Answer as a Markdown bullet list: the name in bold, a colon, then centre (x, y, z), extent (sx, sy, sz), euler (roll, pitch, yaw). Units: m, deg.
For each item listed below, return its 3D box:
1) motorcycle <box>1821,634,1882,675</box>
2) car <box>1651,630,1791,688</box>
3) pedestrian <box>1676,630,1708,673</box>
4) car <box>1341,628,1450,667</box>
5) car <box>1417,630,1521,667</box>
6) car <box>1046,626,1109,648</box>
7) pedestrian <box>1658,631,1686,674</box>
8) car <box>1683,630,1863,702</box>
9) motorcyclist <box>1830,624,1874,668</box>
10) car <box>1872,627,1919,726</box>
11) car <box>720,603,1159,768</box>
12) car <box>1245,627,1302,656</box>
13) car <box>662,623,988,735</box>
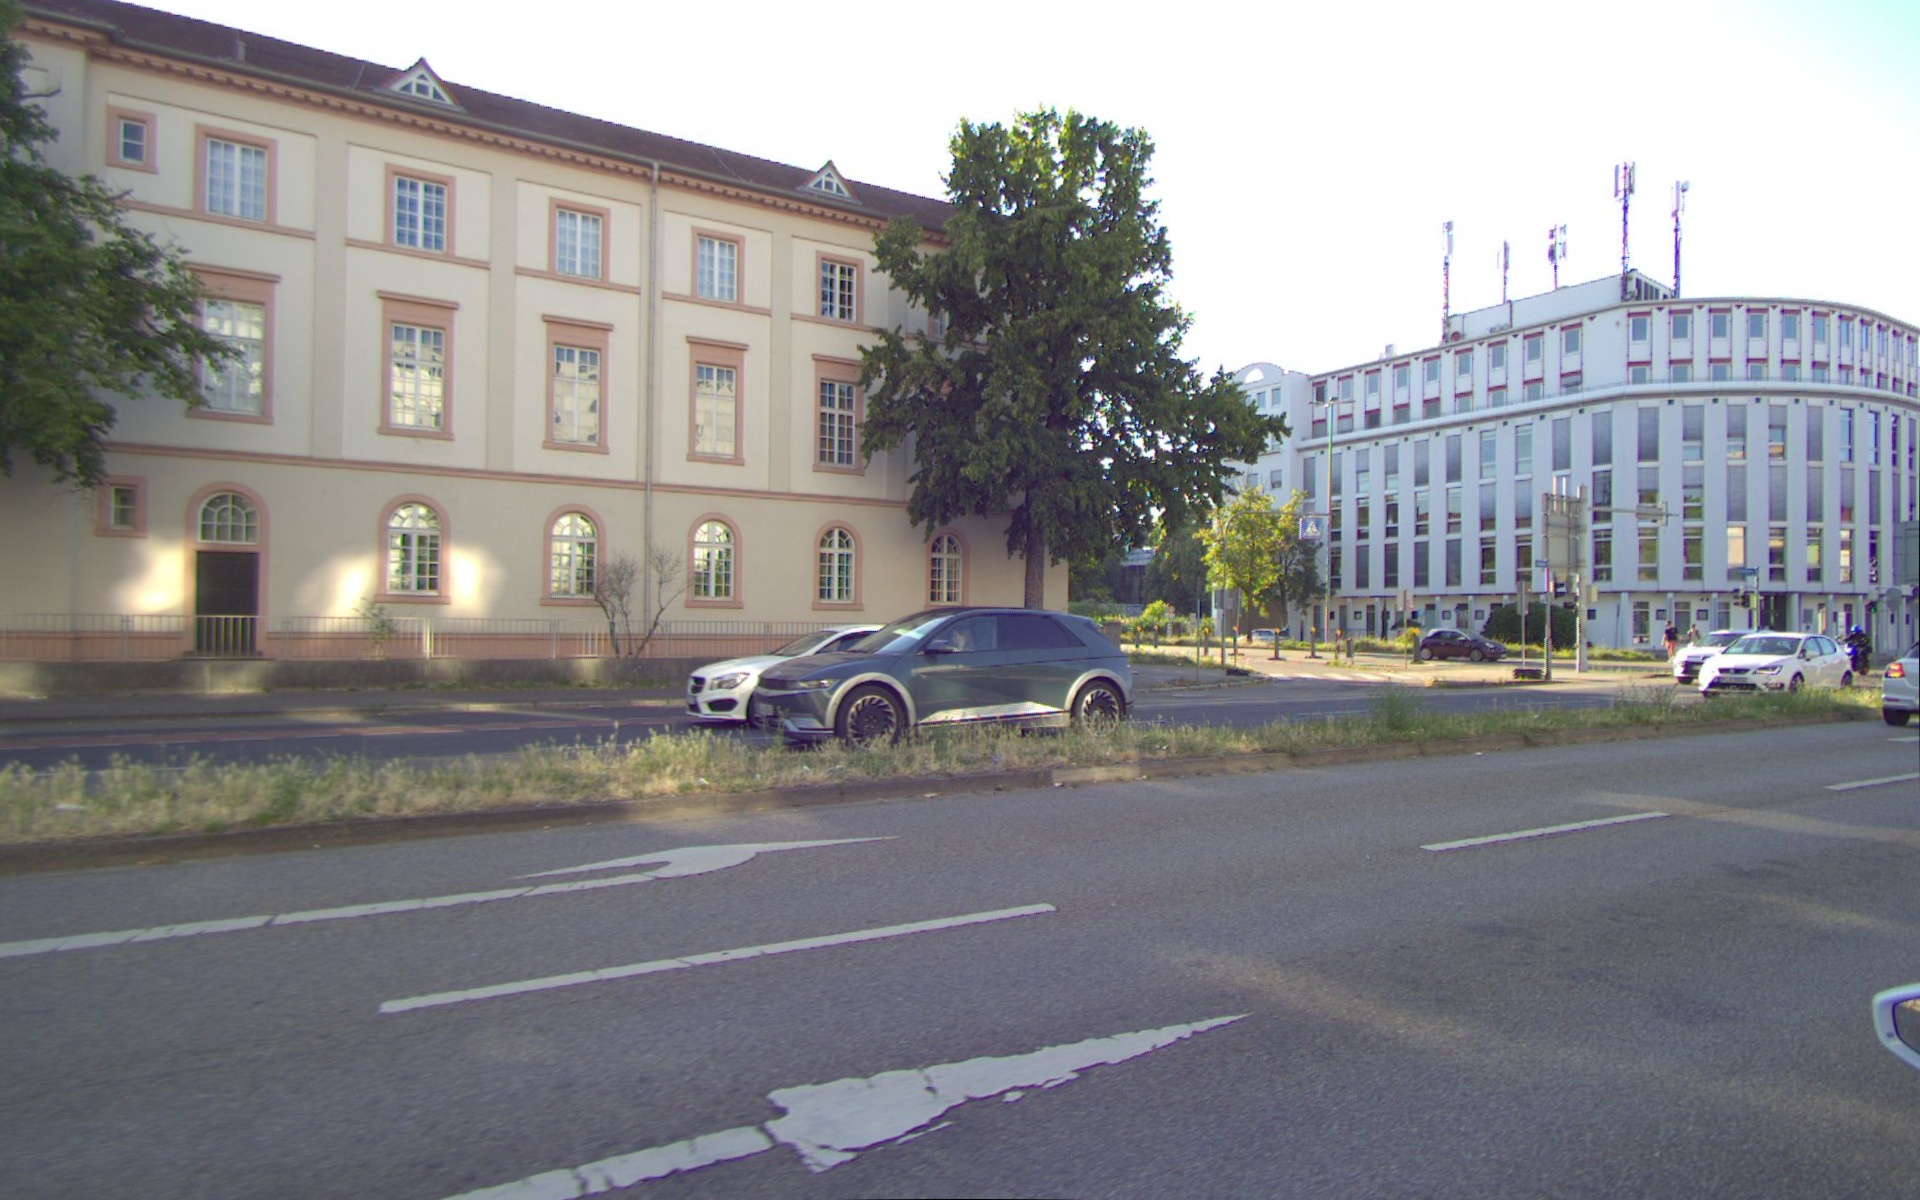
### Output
- **motorcycle**: centre (29.554, 1.787, 33.287), extent (2.811, 1.301, 0.766), euler (2, -2, -32)
- **car**: centre (21.734, 1.631, 28.645), extent (4.463, 1.518, 1.676), euler (1, -2, -32)
- **pedestrian**: centre (31.867, 2.234, 43.736), extent (0.802, 1.866, 0.761), euler (1, -1, -4)
- **car**: centre (19.554, 2.086, 45.271), extent (1.973, 1.650, 4.333), euler (1, -2, -25)
- **car**: centre (22.852, 2.186, 45.195), extent (1.843, 1.549, 3.788), euler (4, -4, -32)
- **car**: centre (7.593, 2.384, 65.084), extent (1.812, 1.372, 3.955), euler (2, -2, -39)
- **pedestrian**: centre (31.571, 2.319, 44.552), extent (0.764, 1.883, 0.661), euler (1, -1, -7)
- **car**: centre (17.545, 1.372, 21.641), extent (4.132, 1.411, 1.677), euler (1, -2, -30)
- **motorcyclist**: centre (29.539, 1.508, 33.274), extent (1.224, 1.438, 0.766), euler (1, -2, -32)
- **car**: centre (16.318, 1.186, 15.868), extent (3.951, 1.476, 1.678), euler (1, -1, -29)
- **car**: centre (-0.155, 0.900, 11.827), extent (4.842, 1.599, 1.984), euler (1, -2, -31)
- **car**: centre (22.381, 2.950, 71.638), extent (3.796, 1.756, 1.776), euler (0, -9, 19)
- **car**: centre (-1.962, 1.093, 14.842), extent (4.389, 1.431, 1.985), euler (1, -3, -29)
